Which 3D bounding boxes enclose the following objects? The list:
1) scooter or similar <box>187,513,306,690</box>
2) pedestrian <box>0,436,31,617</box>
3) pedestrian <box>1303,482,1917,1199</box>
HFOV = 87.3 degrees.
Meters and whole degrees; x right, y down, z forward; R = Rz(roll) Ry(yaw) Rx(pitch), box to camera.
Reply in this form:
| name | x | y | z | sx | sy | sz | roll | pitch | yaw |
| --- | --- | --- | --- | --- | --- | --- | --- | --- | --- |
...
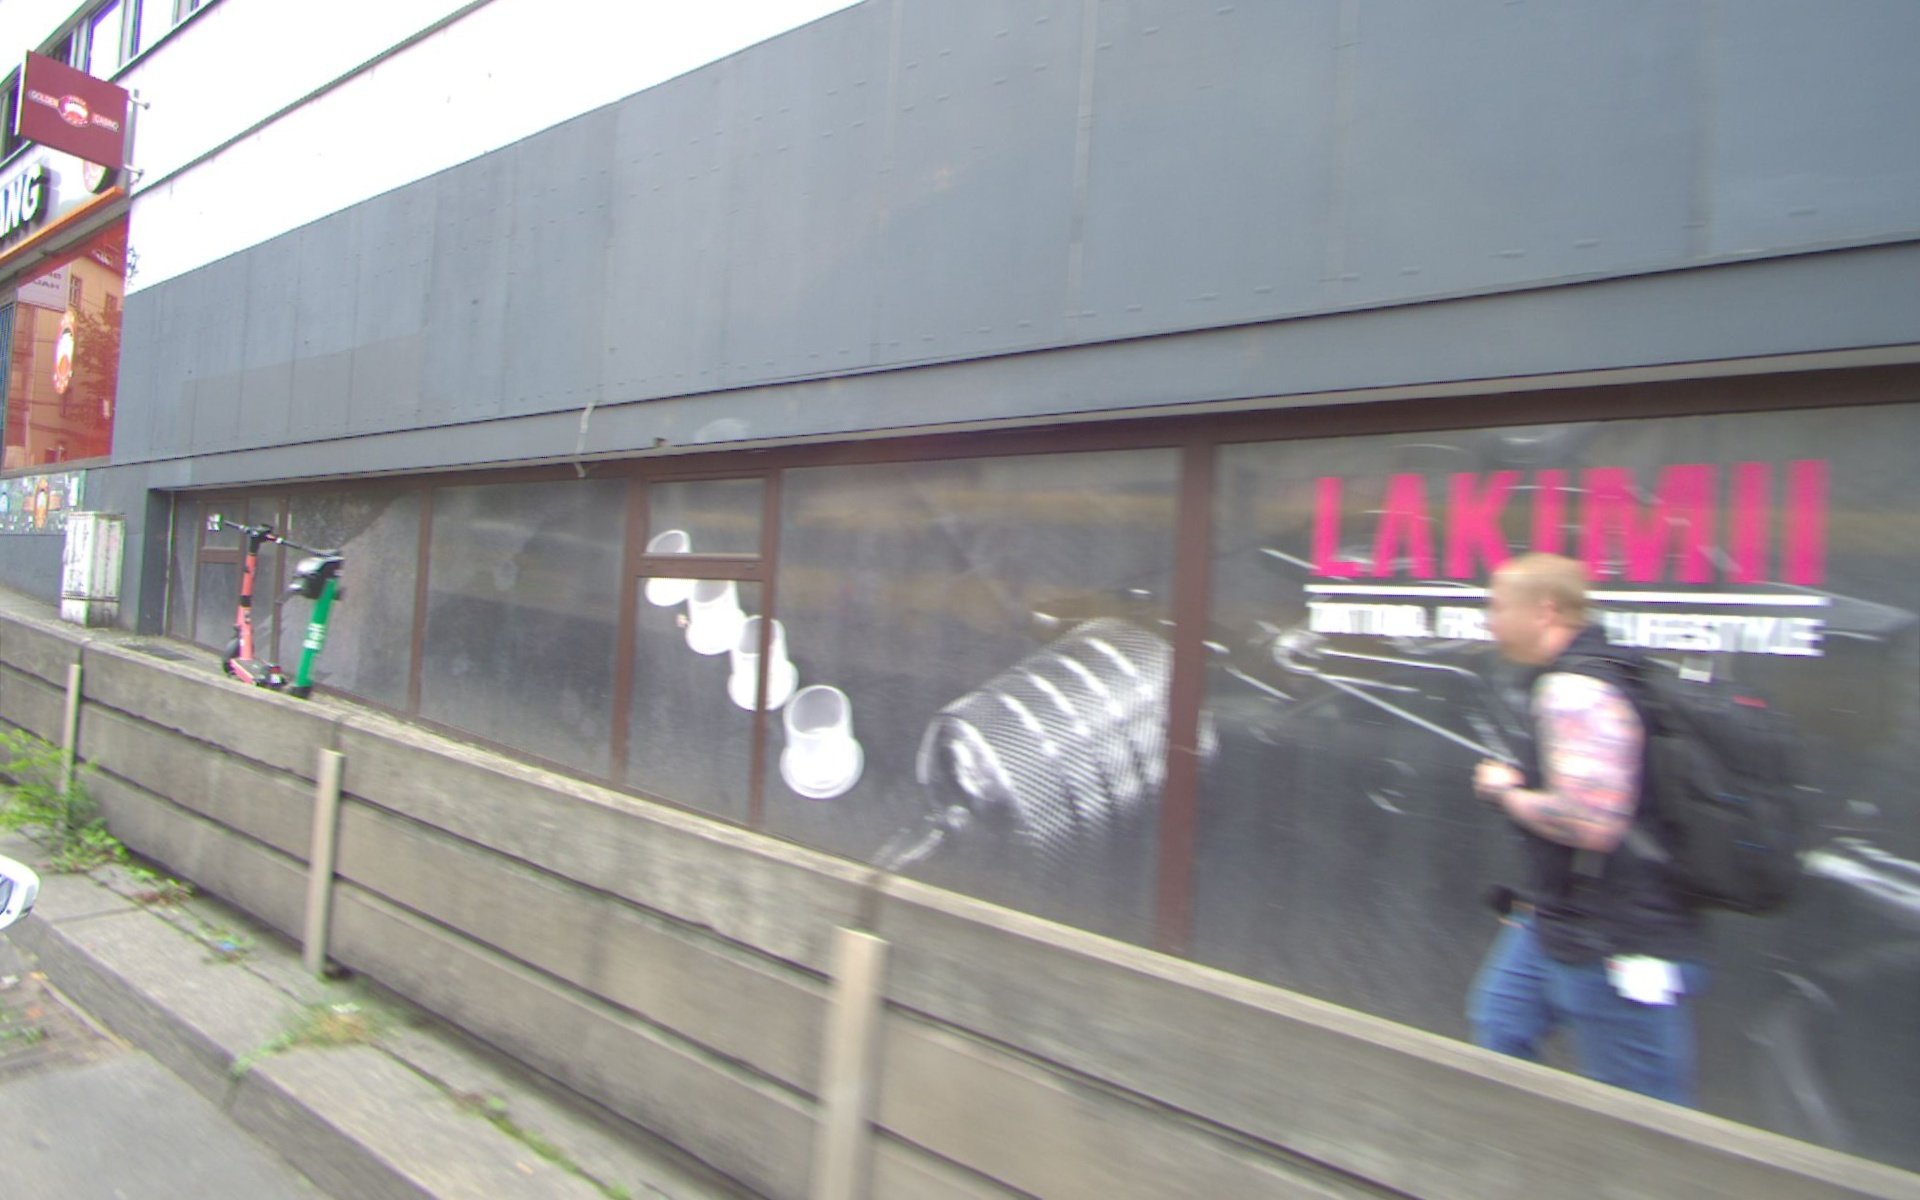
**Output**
| name | x | y | z | sx | sy | sz | roll | pitch | yaw |
| --- | --- | --- | --- | --- | --- | --- | --- | --- | --- |
| scooter or similar | -5.652 | -0.001 | 7.955 | 0.966 | 1.292 | 0.427 | 7 | 1 | 39 |
| pedestrian | -10.138 | -0.793 | 10.236 | 0.644 | 1.830 | 0.727 | 7 | -1 | 35 |
| pedestrian | 1.379 | 0.708 | 2.275 | 0.869 | 1.807 | 0.721 | 6 | -1 | 32 |
